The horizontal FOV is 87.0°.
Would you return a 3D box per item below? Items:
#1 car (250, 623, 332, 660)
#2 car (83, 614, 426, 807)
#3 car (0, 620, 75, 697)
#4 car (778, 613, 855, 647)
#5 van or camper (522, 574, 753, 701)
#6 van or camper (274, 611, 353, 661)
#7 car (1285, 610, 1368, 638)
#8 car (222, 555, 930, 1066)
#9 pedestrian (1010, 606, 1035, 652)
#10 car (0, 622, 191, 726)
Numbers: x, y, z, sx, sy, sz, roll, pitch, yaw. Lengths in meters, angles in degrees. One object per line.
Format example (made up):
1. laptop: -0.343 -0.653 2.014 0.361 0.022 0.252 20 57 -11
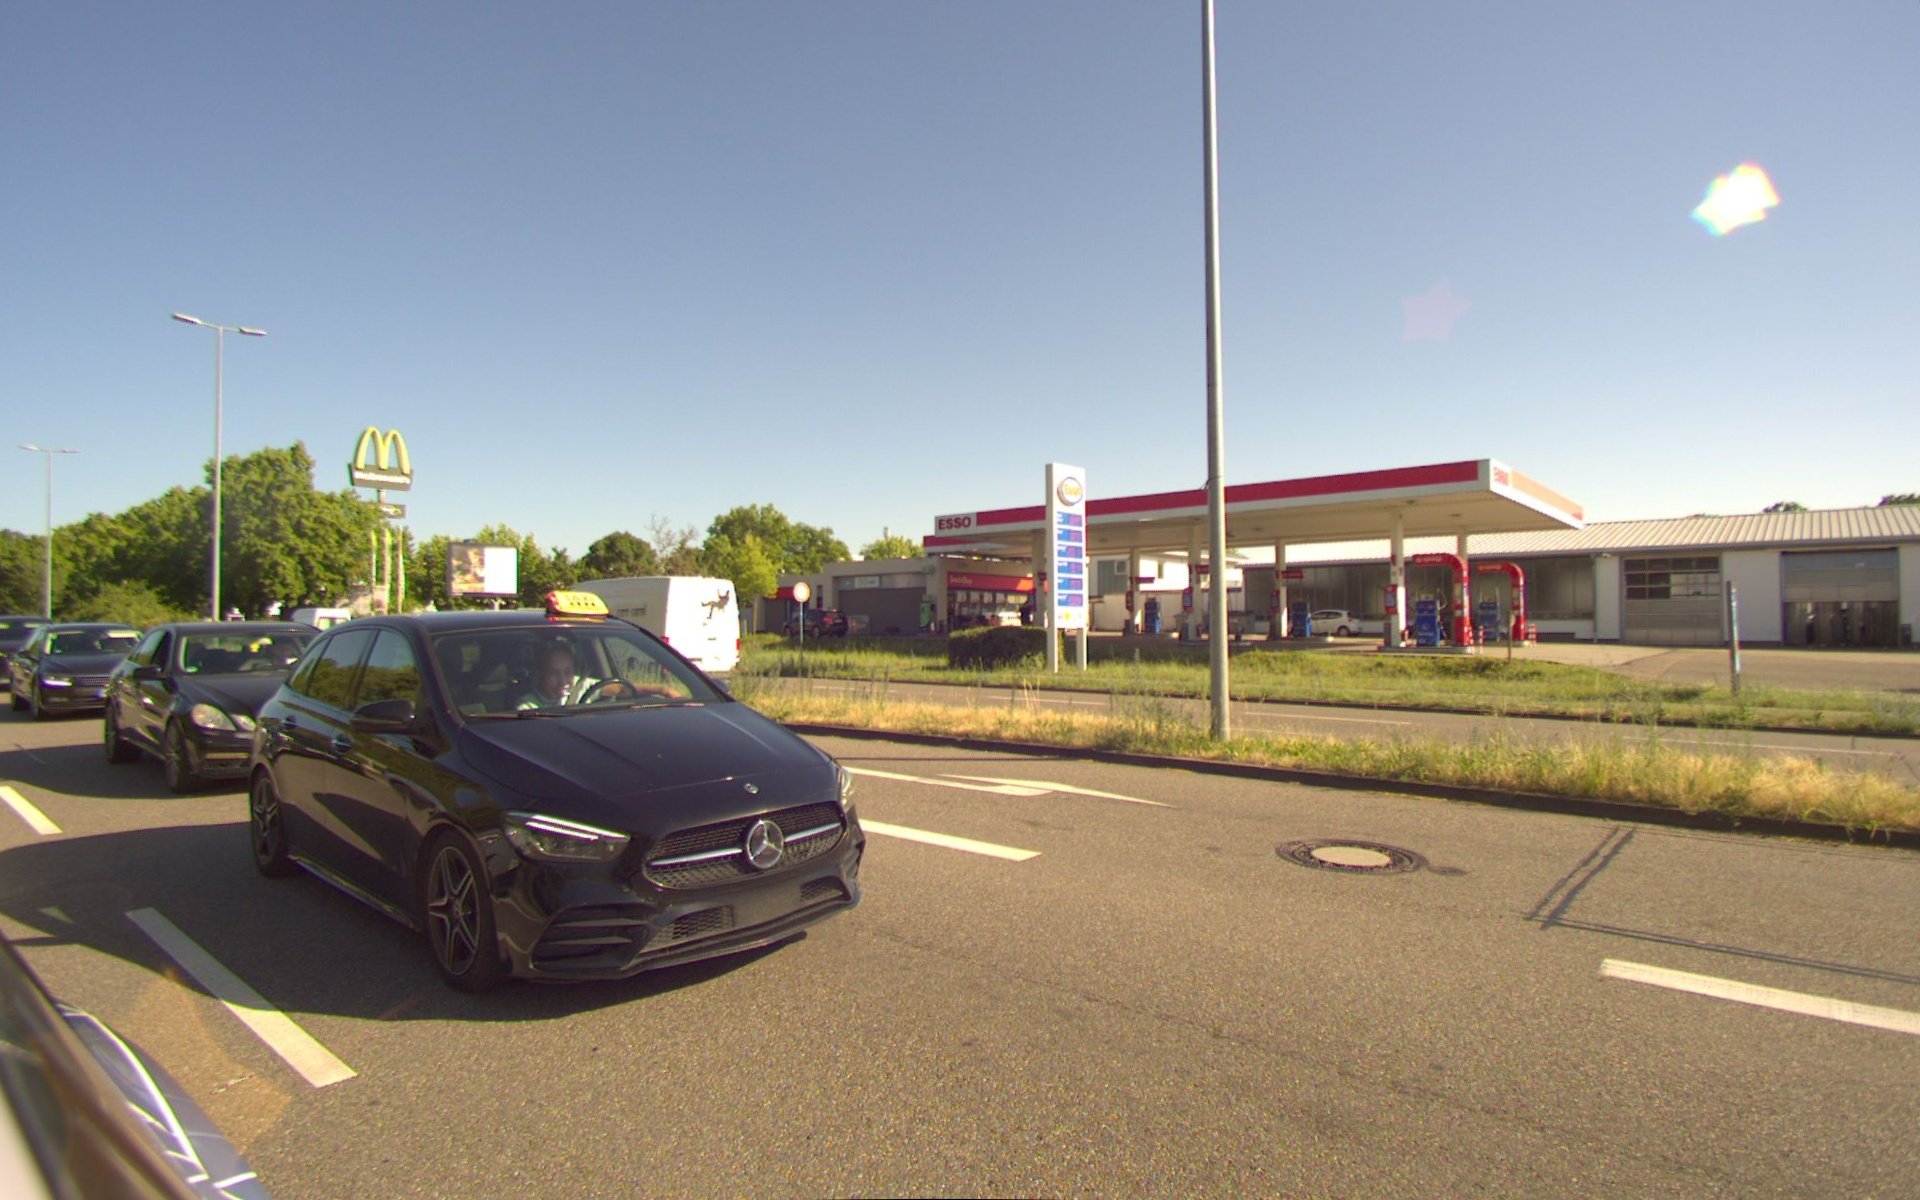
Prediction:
1. car: -31.997 2.009 48.367 4.609 1.666 1.973 -2 -4 40
2. car: -7.237 0.931 10.203 4.401 1.535 1.838 -2 -2 41
3. car: -21.533 1.268 22.802 4.401 1.600 1.838 -2 -2 41
4. car: -7.848 1.629 55.052 4.117 1.783 1.972 -2 -1 43
5. van or camper: -7.740 0.838 23.768 6.754 2.592 2.154 -2 -2 43
6. van or camper: -36.149 2.001 56.525 5.952 2.671 1.973 -1 -4 40
7. car: 19.850 1.324 54.864 3.844 1.450 1.730 -2 -2 39
8. car: -2.283 0.728 5.333 4.187 1.638 1.780 -2 -2 42
9. pedestrian: 2.799 1.274 45.176 0.840 2.029 0.694 -2 -2 41
10. car: -14.424 1.125 16.769 4.401 1.492 1.838 -2 -2 41
